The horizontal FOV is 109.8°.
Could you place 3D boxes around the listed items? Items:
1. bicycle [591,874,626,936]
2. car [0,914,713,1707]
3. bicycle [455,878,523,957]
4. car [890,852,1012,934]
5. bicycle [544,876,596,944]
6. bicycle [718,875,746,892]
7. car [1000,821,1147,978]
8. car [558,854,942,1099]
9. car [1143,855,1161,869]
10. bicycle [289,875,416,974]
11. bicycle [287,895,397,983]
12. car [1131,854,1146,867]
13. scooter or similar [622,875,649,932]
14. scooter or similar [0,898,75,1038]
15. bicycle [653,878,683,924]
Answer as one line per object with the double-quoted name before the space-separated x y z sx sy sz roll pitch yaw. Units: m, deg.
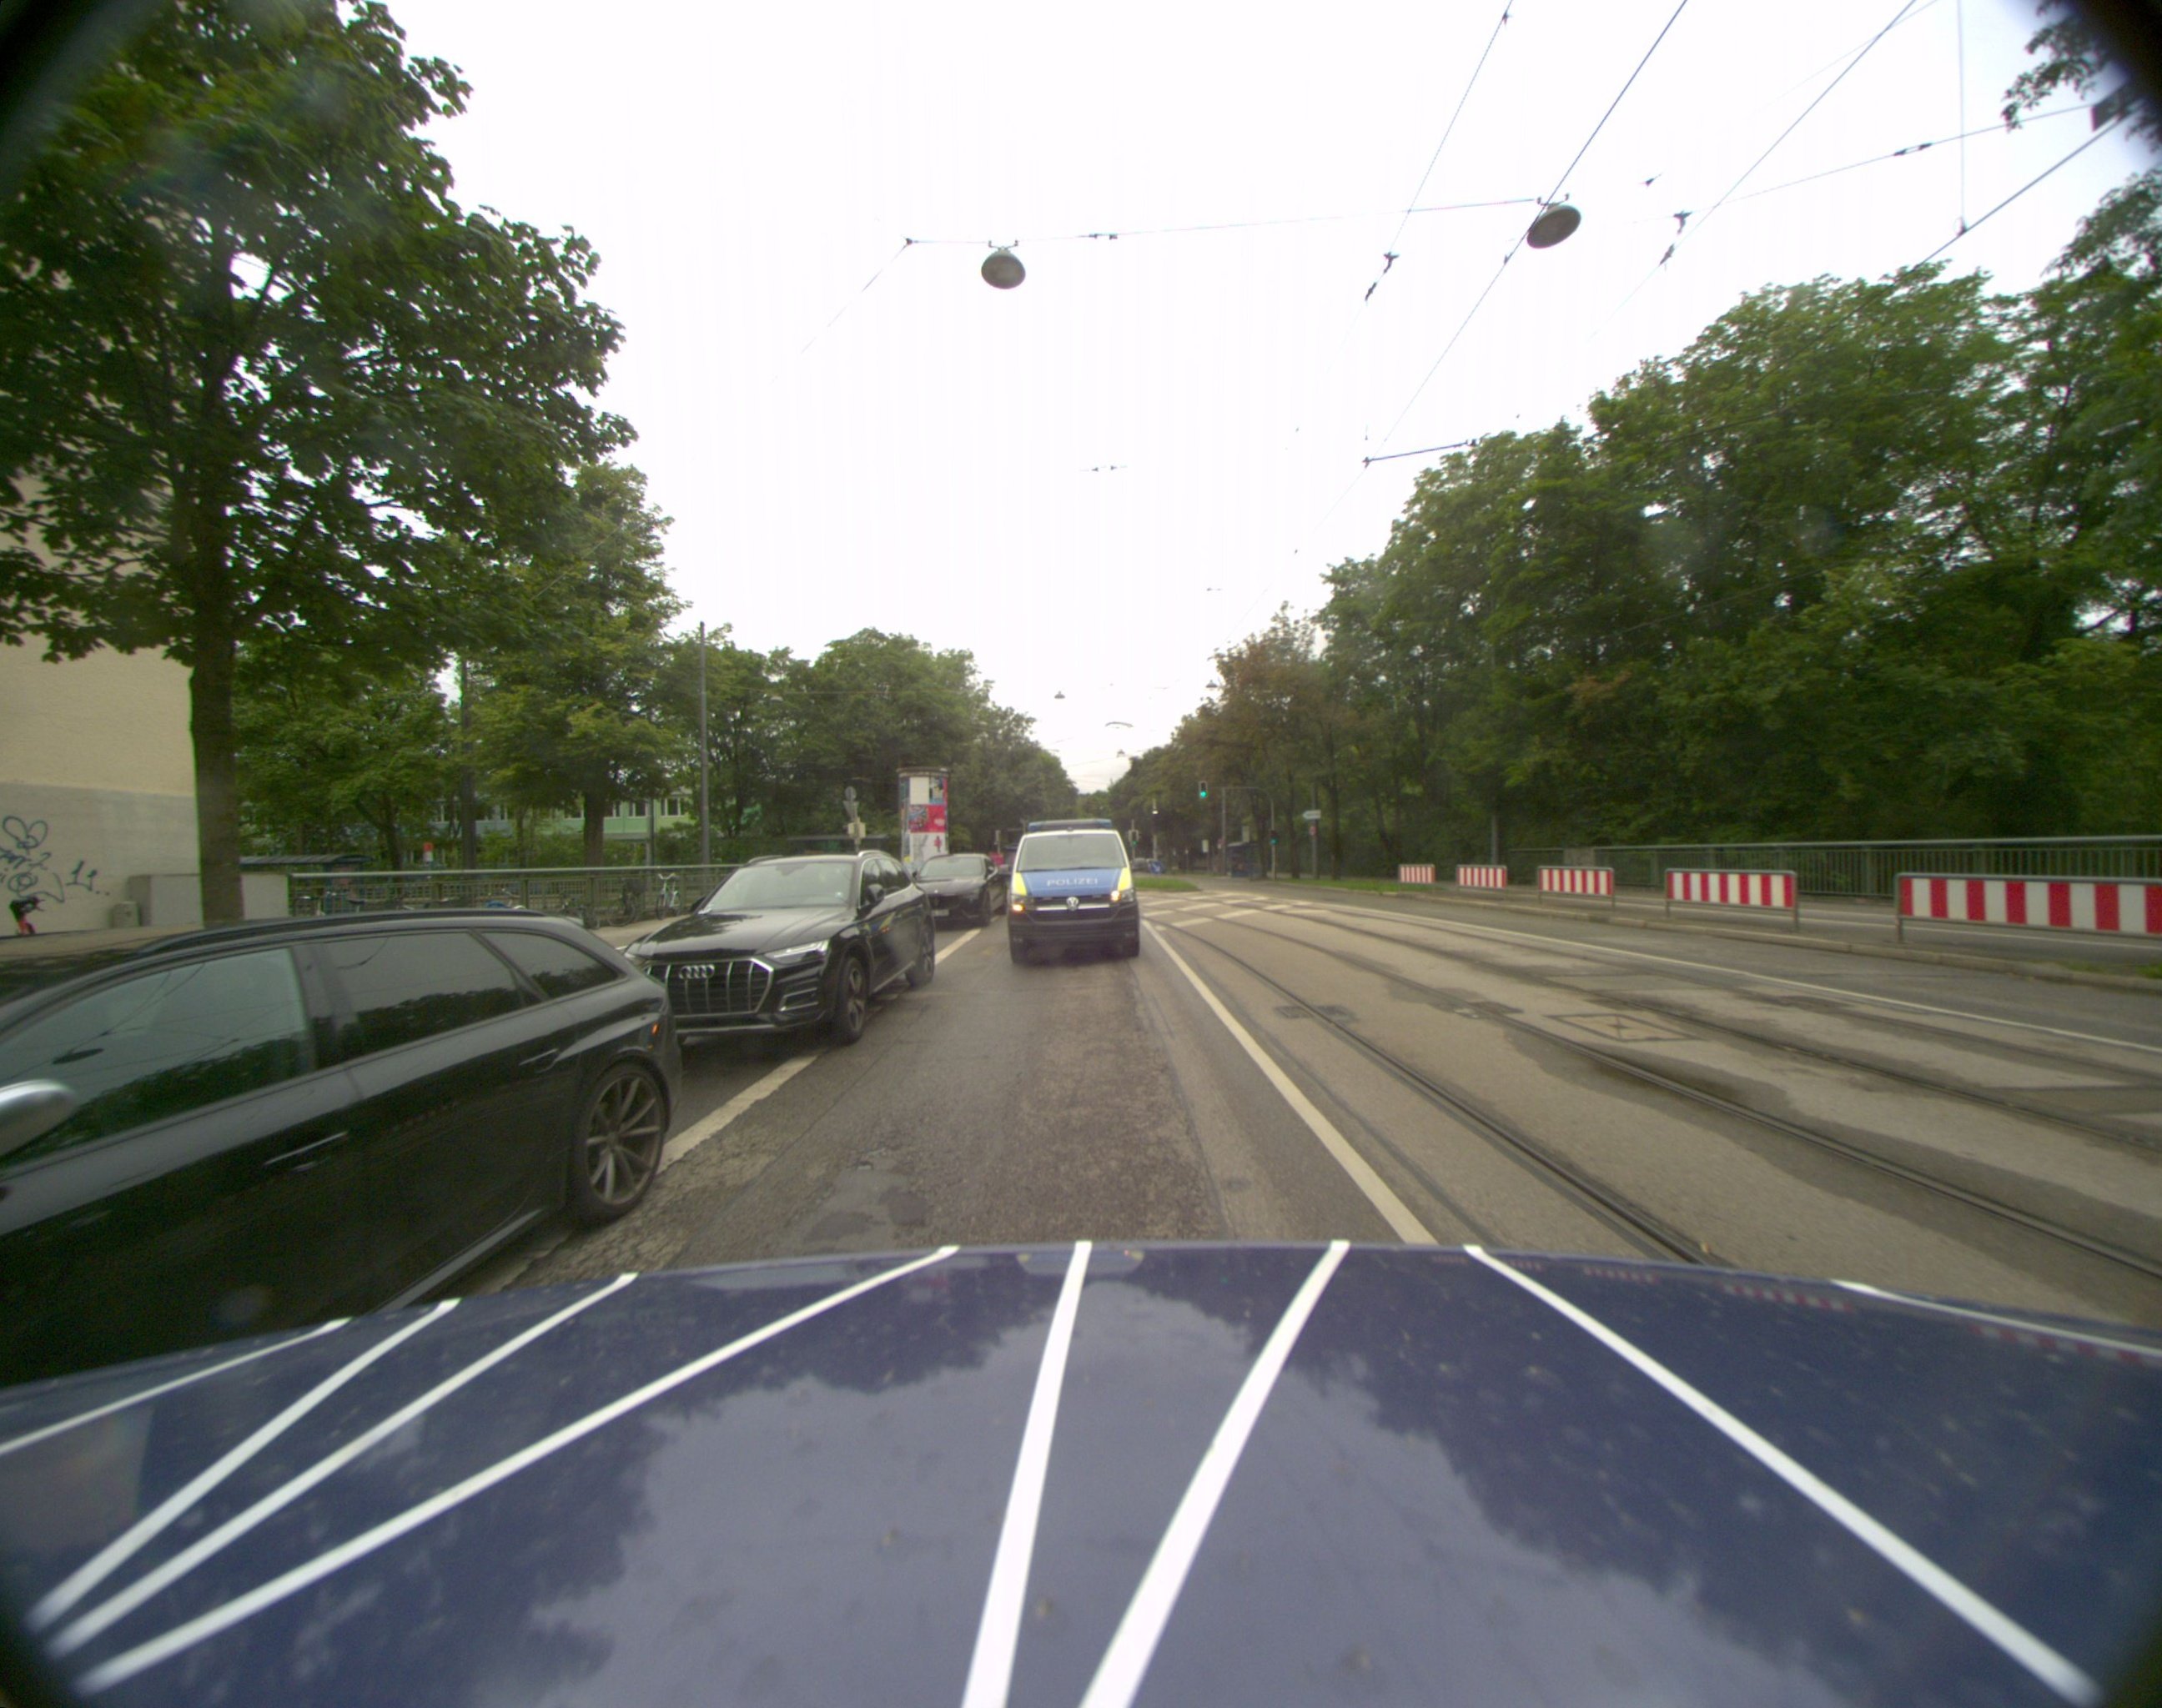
"bicycle" -10.497 1.110 16.914 0.283 1.274 1.408 -3 1 -19
"car" -2.916 1.100 1.833 1.720 1.418 4.601 -3 1 0
"bicycle" -10.602 1.107 13.655 0.282 1.274 1.409 -3 1 -11
"car" -2.898 0.806 17.994 1.905 1.600 4.665 -3 0 1
"bicycle" -10.546 1.128 15.721 0.282 1.274 1.409 -3 1 -11
"bicycle" -20.889 1.768 45.465 1.483 0.946 0.373 -2 1 3
"car" -0.145 0.572 12.879 1.903 2.041 5.707 -1 1 -1
"car" -2.797 0.891 7.728 1.779 1.648 4.487 -2 1 1
"car" 9.449 1.076 100.863 1.888 1.716 3.999 -3 1 -1
"bicycle" -10.784 0.994 11.312 0.333 1.304 1.537 -3 1 -1
"bicycle" -10.697 1.197 11.056 0.287 1.099 1.442 -2 1 -6
"car" 8.724 0.969 115.526 1.888 1.716 3.999 -3 1 -1
"scooter or similar" -10.491 1.144 17.907 0.245 1.255 1.493 -3 1 -22
"scooter or similar" -10.533 1.119 7.259 0.262 1.305 1.142 -3 1 -2
"bicycle" -10.645 1.188 19.609 0.265 1.076 1.540 -3 1 -14
